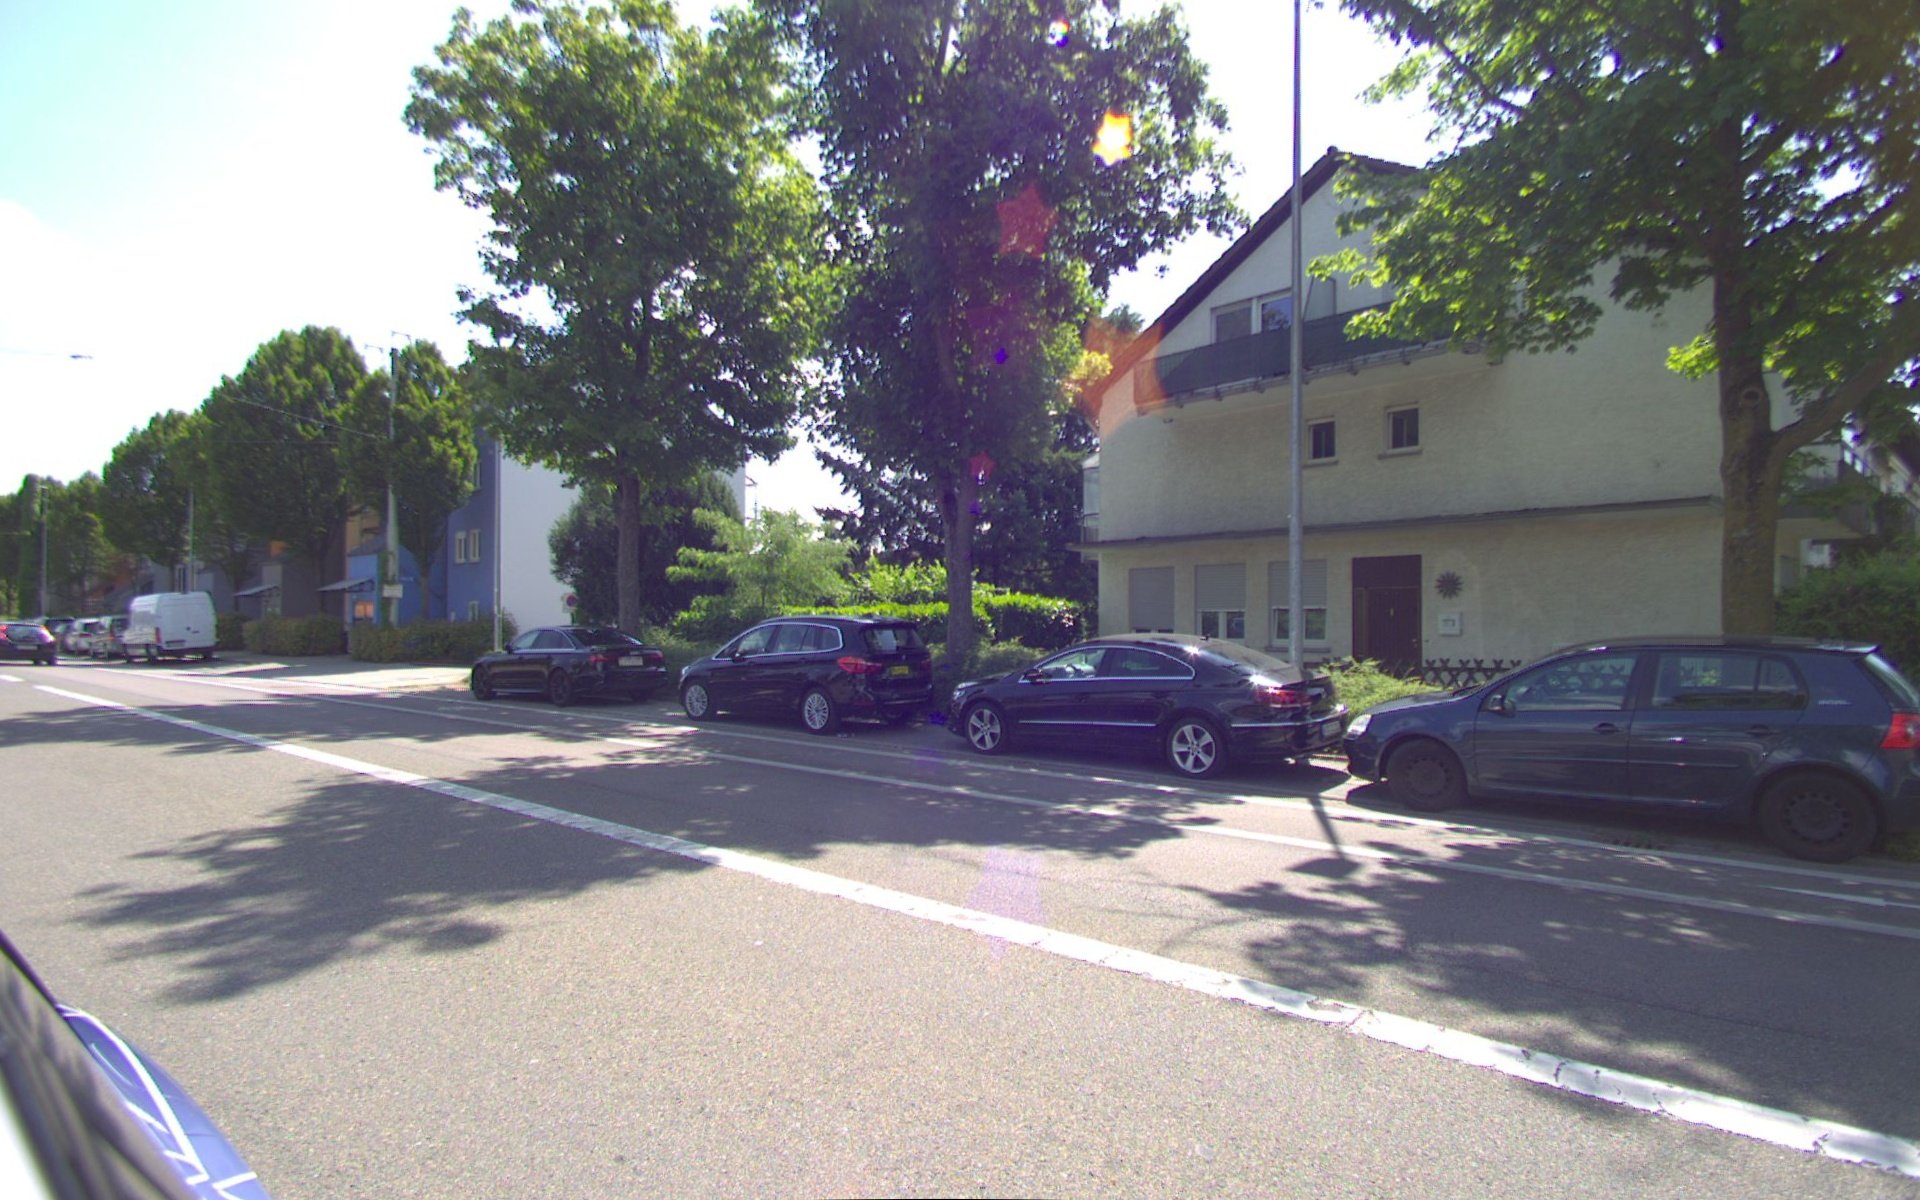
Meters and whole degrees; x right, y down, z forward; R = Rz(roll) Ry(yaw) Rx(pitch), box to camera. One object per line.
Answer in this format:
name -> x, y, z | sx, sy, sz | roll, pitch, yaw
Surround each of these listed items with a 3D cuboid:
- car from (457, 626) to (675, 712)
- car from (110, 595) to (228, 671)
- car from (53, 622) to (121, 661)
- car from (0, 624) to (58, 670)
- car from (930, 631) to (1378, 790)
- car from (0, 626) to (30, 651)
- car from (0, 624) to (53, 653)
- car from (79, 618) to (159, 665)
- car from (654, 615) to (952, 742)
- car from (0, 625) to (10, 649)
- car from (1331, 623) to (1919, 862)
car -> -7.662, 1.237, 19.464 | 4.799, 1.467, 1.757 | -1, -2, 39
car -> -31.339, 1.261, 39.992 | 7.031, 2.671, 2.300 | -2, 2, 41
car -> -42.038, 1.985, 48.692 | 4.899, 1.765, 1.699 | -1, -1, 39
car -> -30.861, 1.498, 32.854 | 4.001, 1.409, 1.661 | -1, -4, 39
car -> 2.014, 1.075, 11.431 | 4.691, 1.383, 1.757 | -1, 0, 39
car -> -59.097, 2.339, 62.348 | 4.954, 1.457, 1.726 | -1, -1, 36
car -> -54.275, 2.220, 58.713 | 4.278, 1.630, 1.640 | 0, -2, 37
car -> -37.403, 1.800, 44.950 | 5.358, 1.909, 1.788 | -1, 0, 40
car -> -2.470, 1.060, 15.158 | 4.632, 1.616, 1.757 | -1, -1, 39
car -> -63.874, 2.412, 66.120 | 4.883, 1.519, 1.642 | 0, 1, 34
car -> 5.394, 0.961, 8.315 | 4.044, 1.492, 1.757 | -1, -1, 40
